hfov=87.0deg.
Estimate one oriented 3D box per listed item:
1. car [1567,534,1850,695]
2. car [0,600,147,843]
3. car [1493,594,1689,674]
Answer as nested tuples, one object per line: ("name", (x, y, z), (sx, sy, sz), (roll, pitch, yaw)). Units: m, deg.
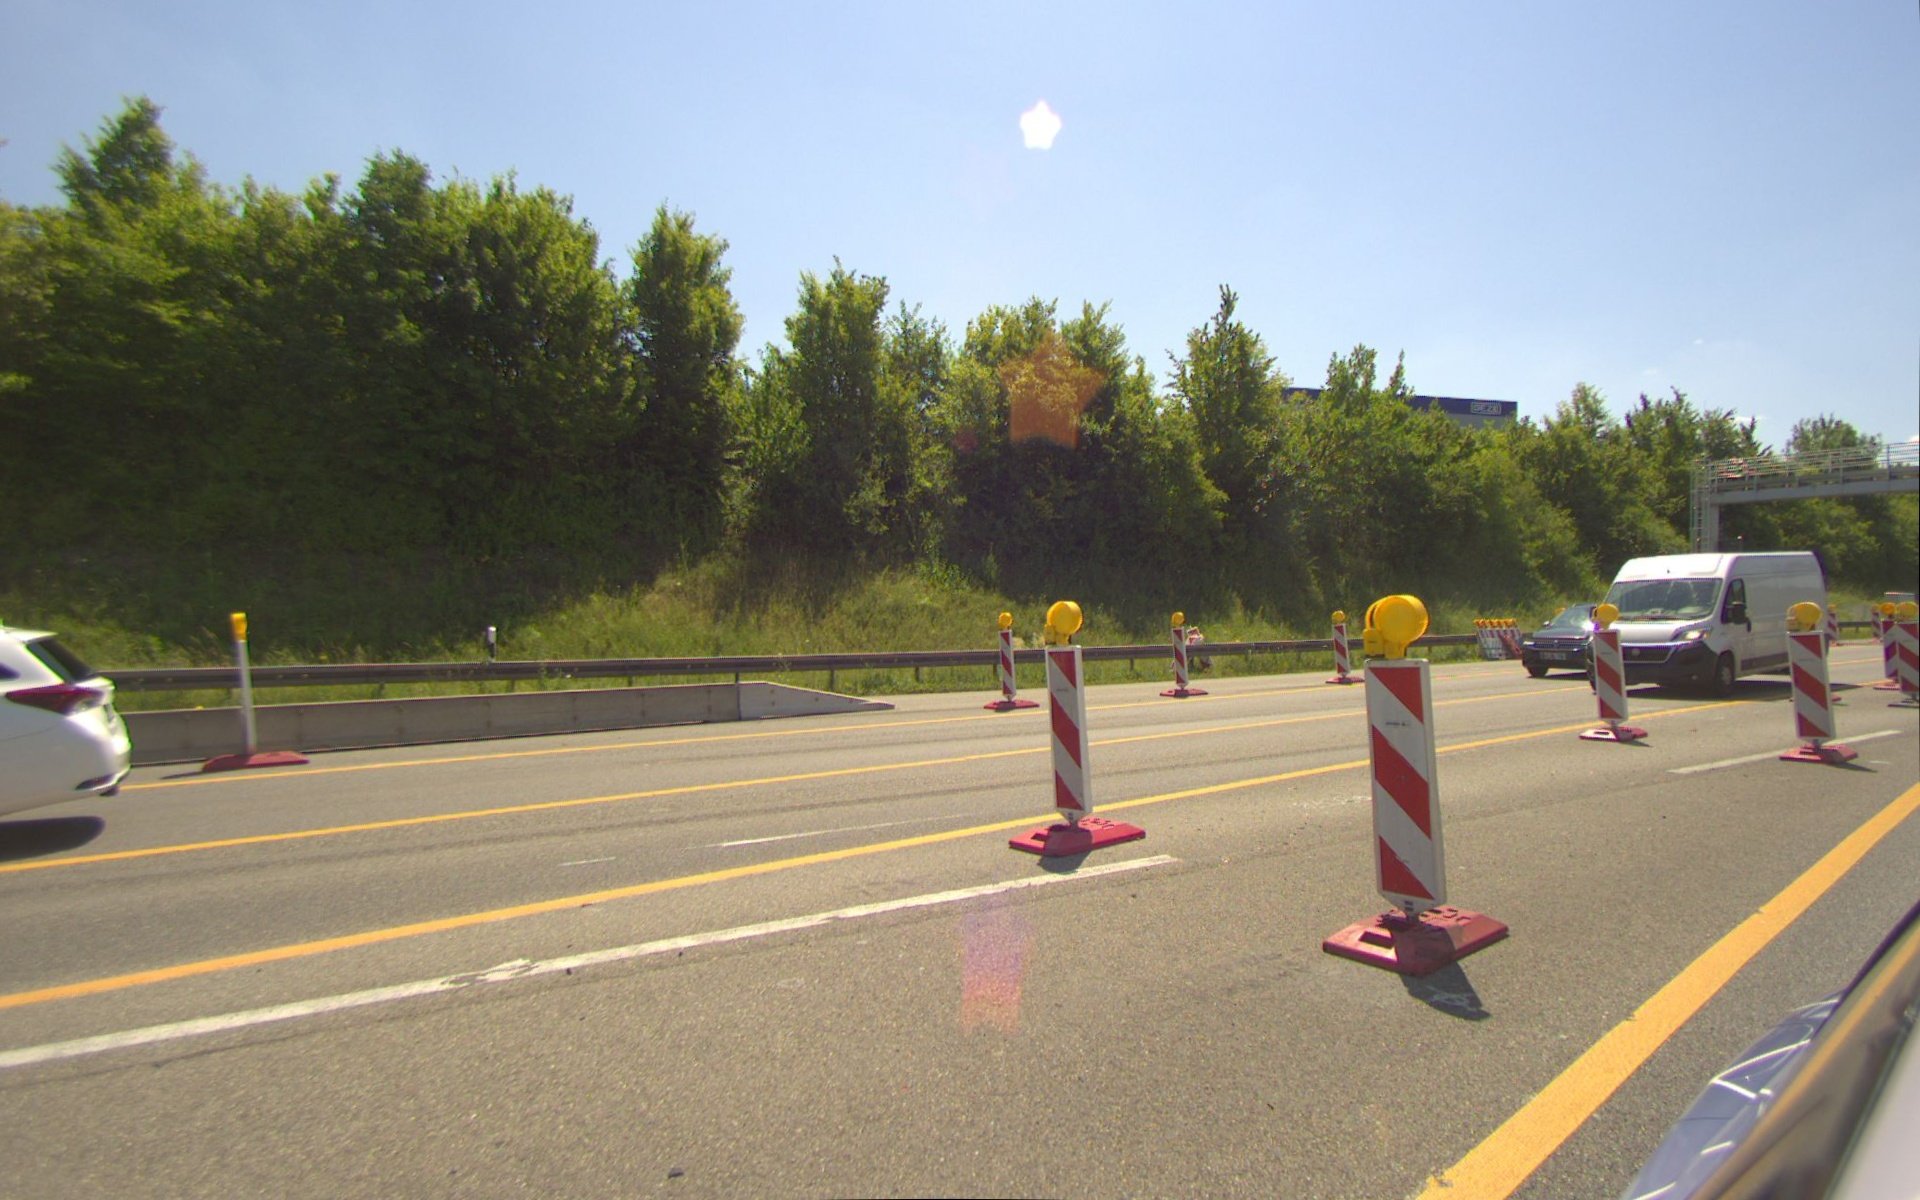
("car", (14.118, 0.220, 18.915), (6.459, 2.568, 2.273), (0, 0, -35))
("car", (-7.819, 0.830, 5.999), (4.567, 1.483, 1.820), (-2, 0, -37))
("car", (14.820, 0.712, 23.678), (5.137, 1.684, 2.026), (0, 0, -35))
